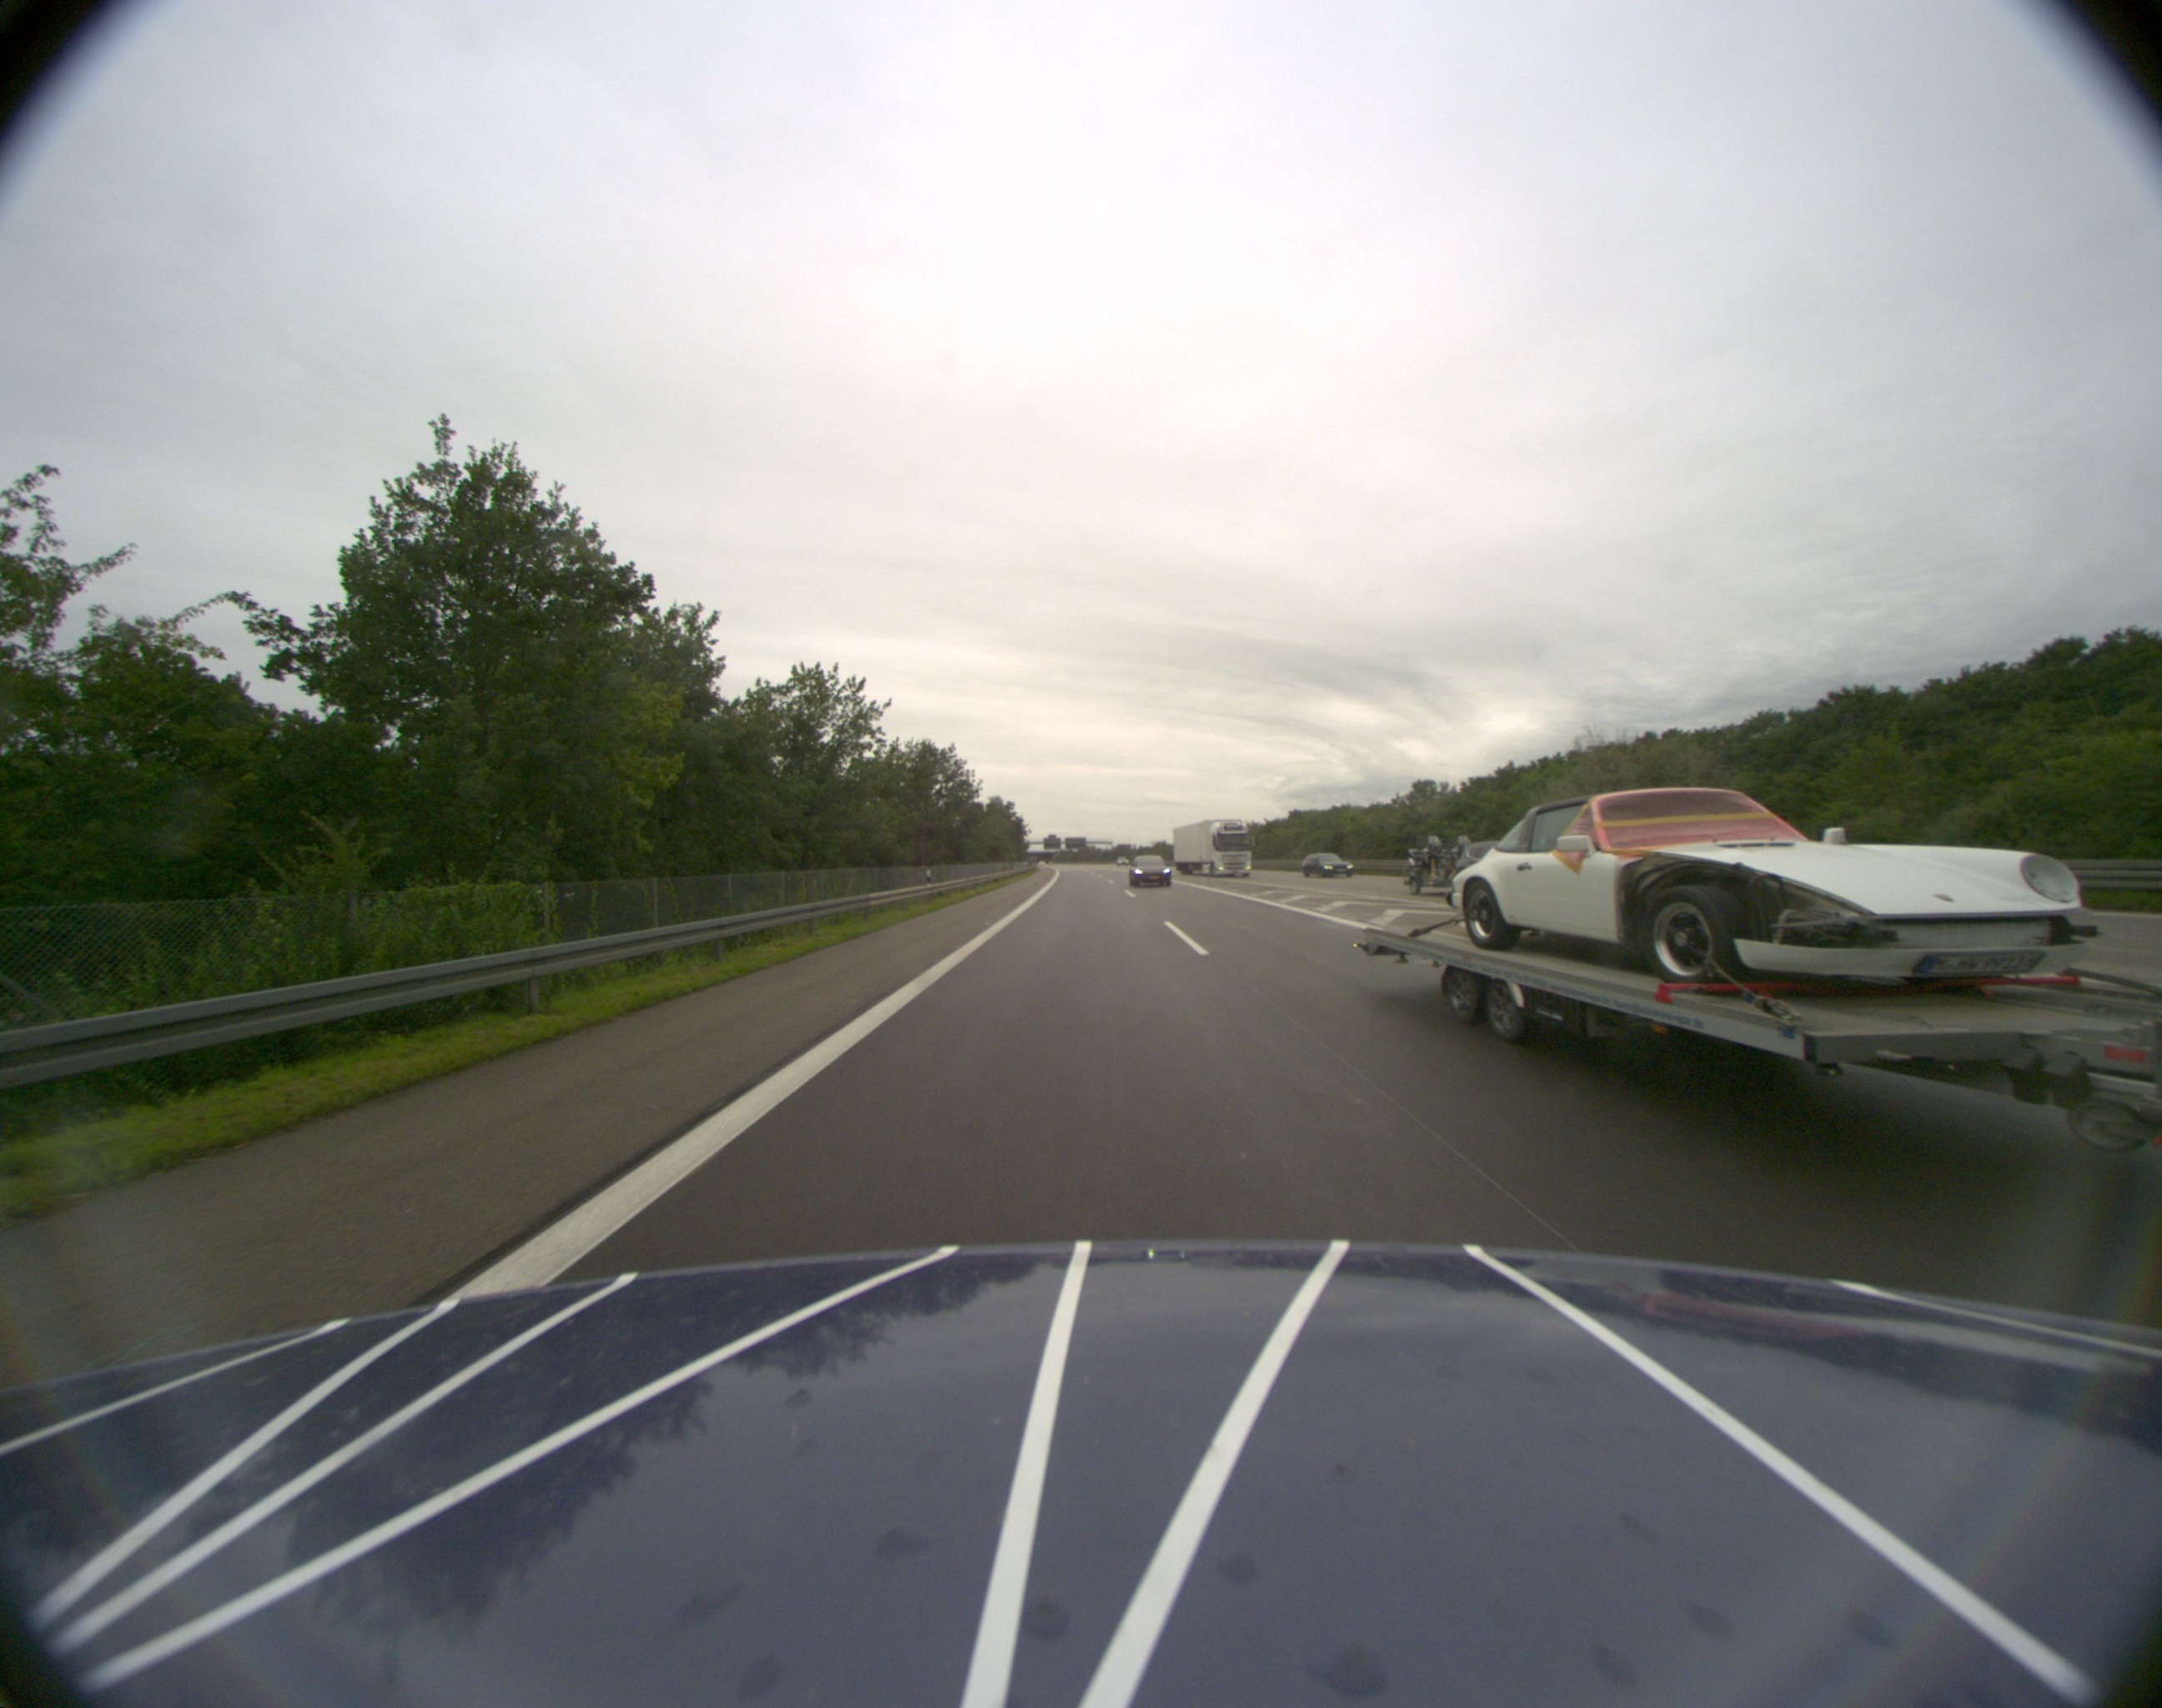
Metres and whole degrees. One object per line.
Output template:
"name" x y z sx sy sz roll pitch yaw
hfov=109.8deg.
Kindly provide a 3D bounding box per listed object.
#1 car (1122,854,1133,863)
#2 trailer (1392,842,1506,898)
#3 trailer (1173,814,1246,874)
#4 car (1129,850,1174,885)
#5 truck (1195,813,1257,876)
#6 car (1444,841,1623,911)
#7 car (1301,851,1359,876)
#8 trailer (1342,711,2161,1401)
"car" 9.644 0.943 157.282 1.903 1.641 4.485 -2 0 -1
"trailer" 11.995 0.470 25.030 1.887 1.617 3.609 -2 1 -2
"trailer" 10.038 -0.721 61.172 2.773 4.111 13.948 -4 0 -2
"car" 3.707 0.680 40.525 1.966 1.628 4.553 -2 1 1
"truck" 10.287 -0.662 54.647 2.773 4.111 6.443 -4 0 -2
"car" 12.149 0.511 20.848 1.887 1.617 4.805 -2 1 -2
"car" 15.119 0.533 46.455 1.808 1.383 4.774 -2 1 -2
"trailer" 4.349 0.522 5.473 2.491 1.983 7.063 -3 0 0
